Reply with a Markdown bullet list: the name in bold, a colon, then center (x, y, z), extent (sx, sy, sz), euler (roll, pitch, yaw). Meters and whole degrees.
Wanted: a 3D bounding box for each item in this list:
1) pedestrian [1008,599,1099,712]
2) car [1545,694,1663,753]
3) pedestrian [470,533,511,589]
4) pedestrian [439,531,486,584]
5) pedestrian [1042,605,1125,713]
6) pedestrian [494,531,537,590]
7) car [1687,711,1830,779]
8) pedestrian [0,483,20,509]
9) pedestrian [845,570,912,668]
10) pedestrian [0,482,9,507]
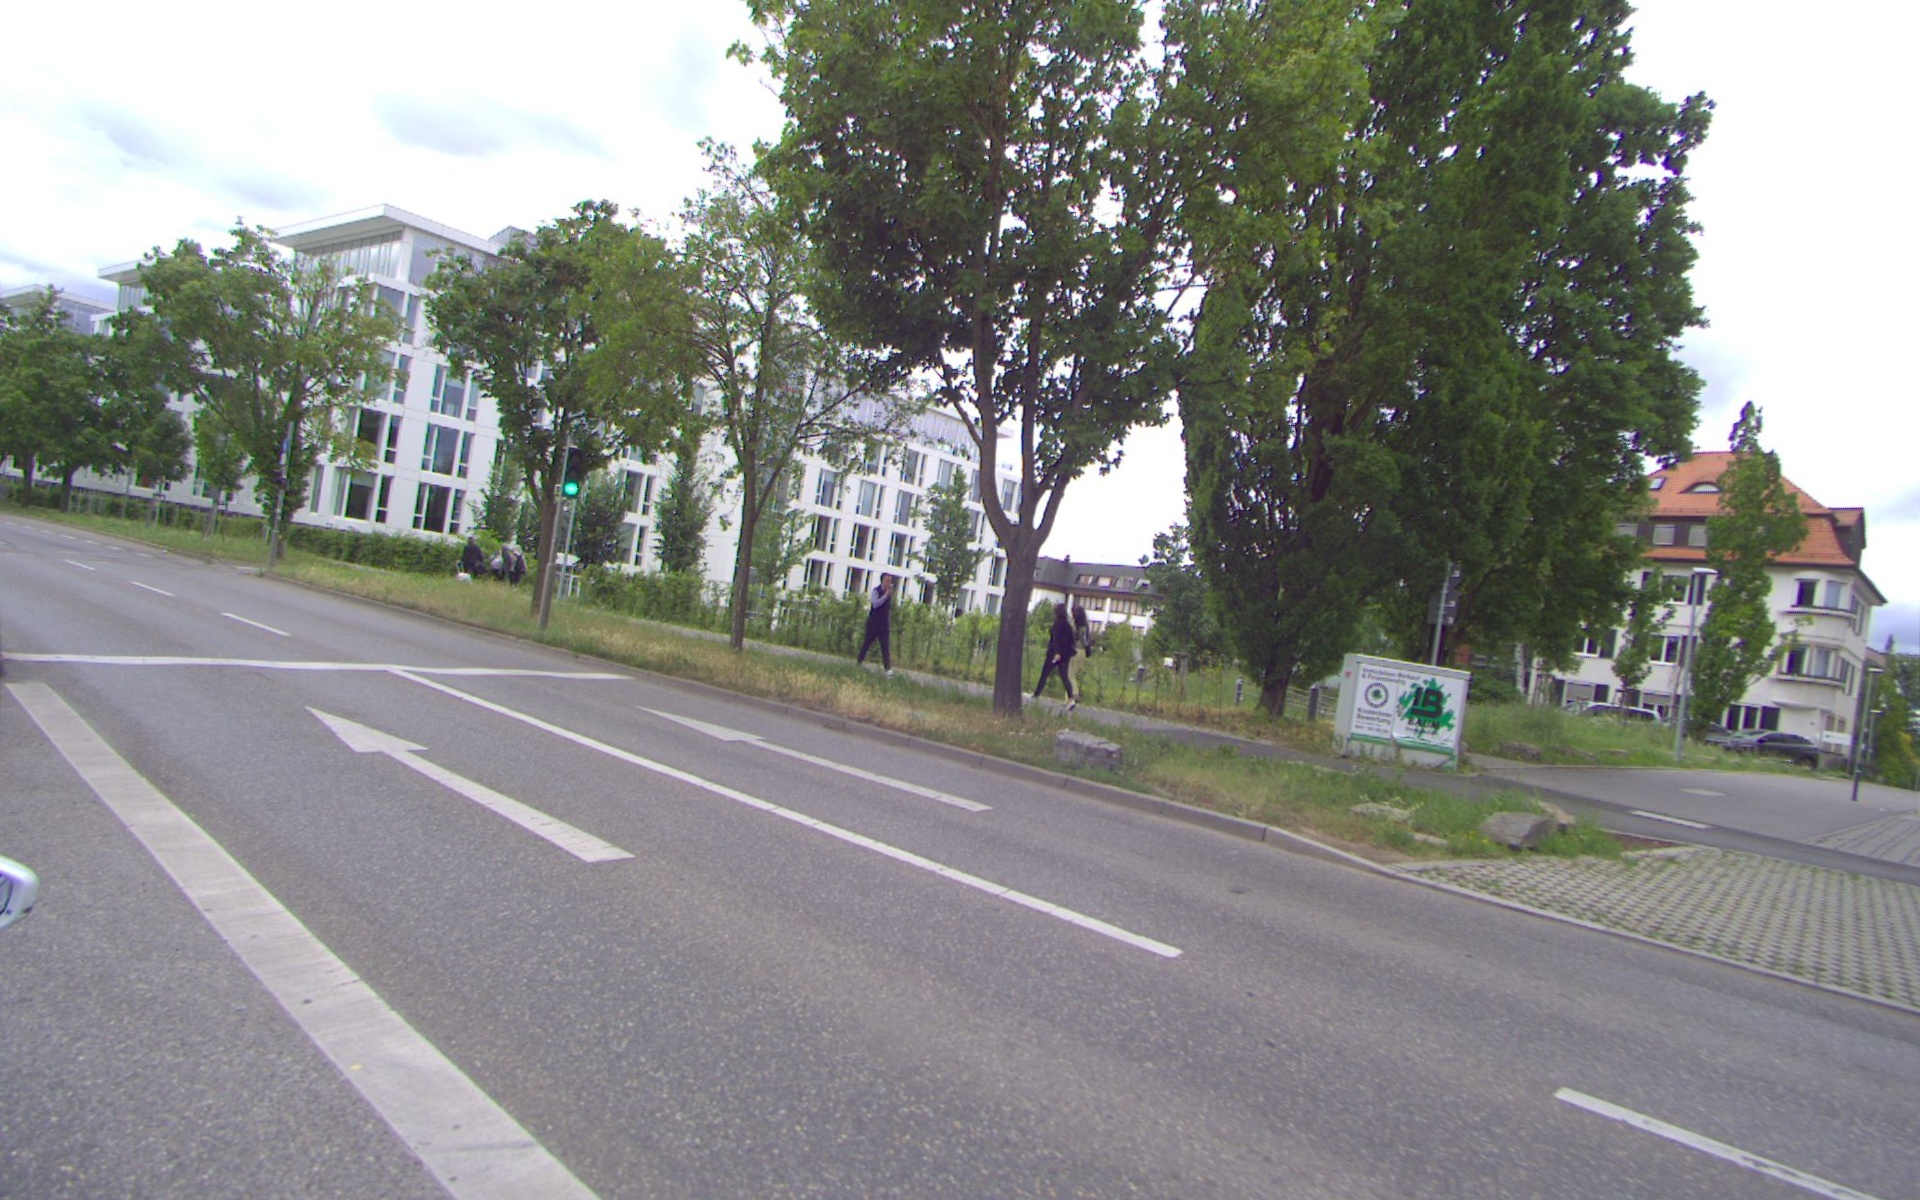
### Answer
- **pedestrian**: center (1.531, 0.901, 16.522), extent (0.793, 1.680, 1.047), euler (8, -1, -42)
- **car**: center (30.321, 5.788, 47.454), extent (4.054, 2.037, 2.001), euler (8, -1, 3)
- **pedestrian**: center (-14.495, -1.195, 31.026), extent (0.871, 1.614, 0.699), euler (6, -1, 42)
- **pedestrian**: center (-15.090, -1.286, 30.527), extent (1.097, 1.465, 0.788), euler (6, -1, 42)
- **pedestrian**: center (2.096, 0.995, 17.134), extent (0.776, 1.680, 0.941), euler (8, -1, -42)
- **pedestrian**: center (-13.968, -1.240, 31.621), extent (0.871, 1.705, 0.766), euler (6, -1, 42)
- **car**: center (32.977, 5.953, 41.641), extent (4.054, 2.037, 2.001), euler (8, -1, 3)
- **pedestrian**: center (-79.157, -8.654, 83.816), extent (0.595, 2.038, 0.850), euler (7, 0, 28)
- **pedestrian**: center (-1.418, 0.337, 17.525), extent (0.665, 1.593, 0.740), euler (6, -1, 41)
- **pedestrian**: center (-81.306, -8.947, 85.174), extent (0.741, 2.038, 0.764), euler (7, -1, 28)
